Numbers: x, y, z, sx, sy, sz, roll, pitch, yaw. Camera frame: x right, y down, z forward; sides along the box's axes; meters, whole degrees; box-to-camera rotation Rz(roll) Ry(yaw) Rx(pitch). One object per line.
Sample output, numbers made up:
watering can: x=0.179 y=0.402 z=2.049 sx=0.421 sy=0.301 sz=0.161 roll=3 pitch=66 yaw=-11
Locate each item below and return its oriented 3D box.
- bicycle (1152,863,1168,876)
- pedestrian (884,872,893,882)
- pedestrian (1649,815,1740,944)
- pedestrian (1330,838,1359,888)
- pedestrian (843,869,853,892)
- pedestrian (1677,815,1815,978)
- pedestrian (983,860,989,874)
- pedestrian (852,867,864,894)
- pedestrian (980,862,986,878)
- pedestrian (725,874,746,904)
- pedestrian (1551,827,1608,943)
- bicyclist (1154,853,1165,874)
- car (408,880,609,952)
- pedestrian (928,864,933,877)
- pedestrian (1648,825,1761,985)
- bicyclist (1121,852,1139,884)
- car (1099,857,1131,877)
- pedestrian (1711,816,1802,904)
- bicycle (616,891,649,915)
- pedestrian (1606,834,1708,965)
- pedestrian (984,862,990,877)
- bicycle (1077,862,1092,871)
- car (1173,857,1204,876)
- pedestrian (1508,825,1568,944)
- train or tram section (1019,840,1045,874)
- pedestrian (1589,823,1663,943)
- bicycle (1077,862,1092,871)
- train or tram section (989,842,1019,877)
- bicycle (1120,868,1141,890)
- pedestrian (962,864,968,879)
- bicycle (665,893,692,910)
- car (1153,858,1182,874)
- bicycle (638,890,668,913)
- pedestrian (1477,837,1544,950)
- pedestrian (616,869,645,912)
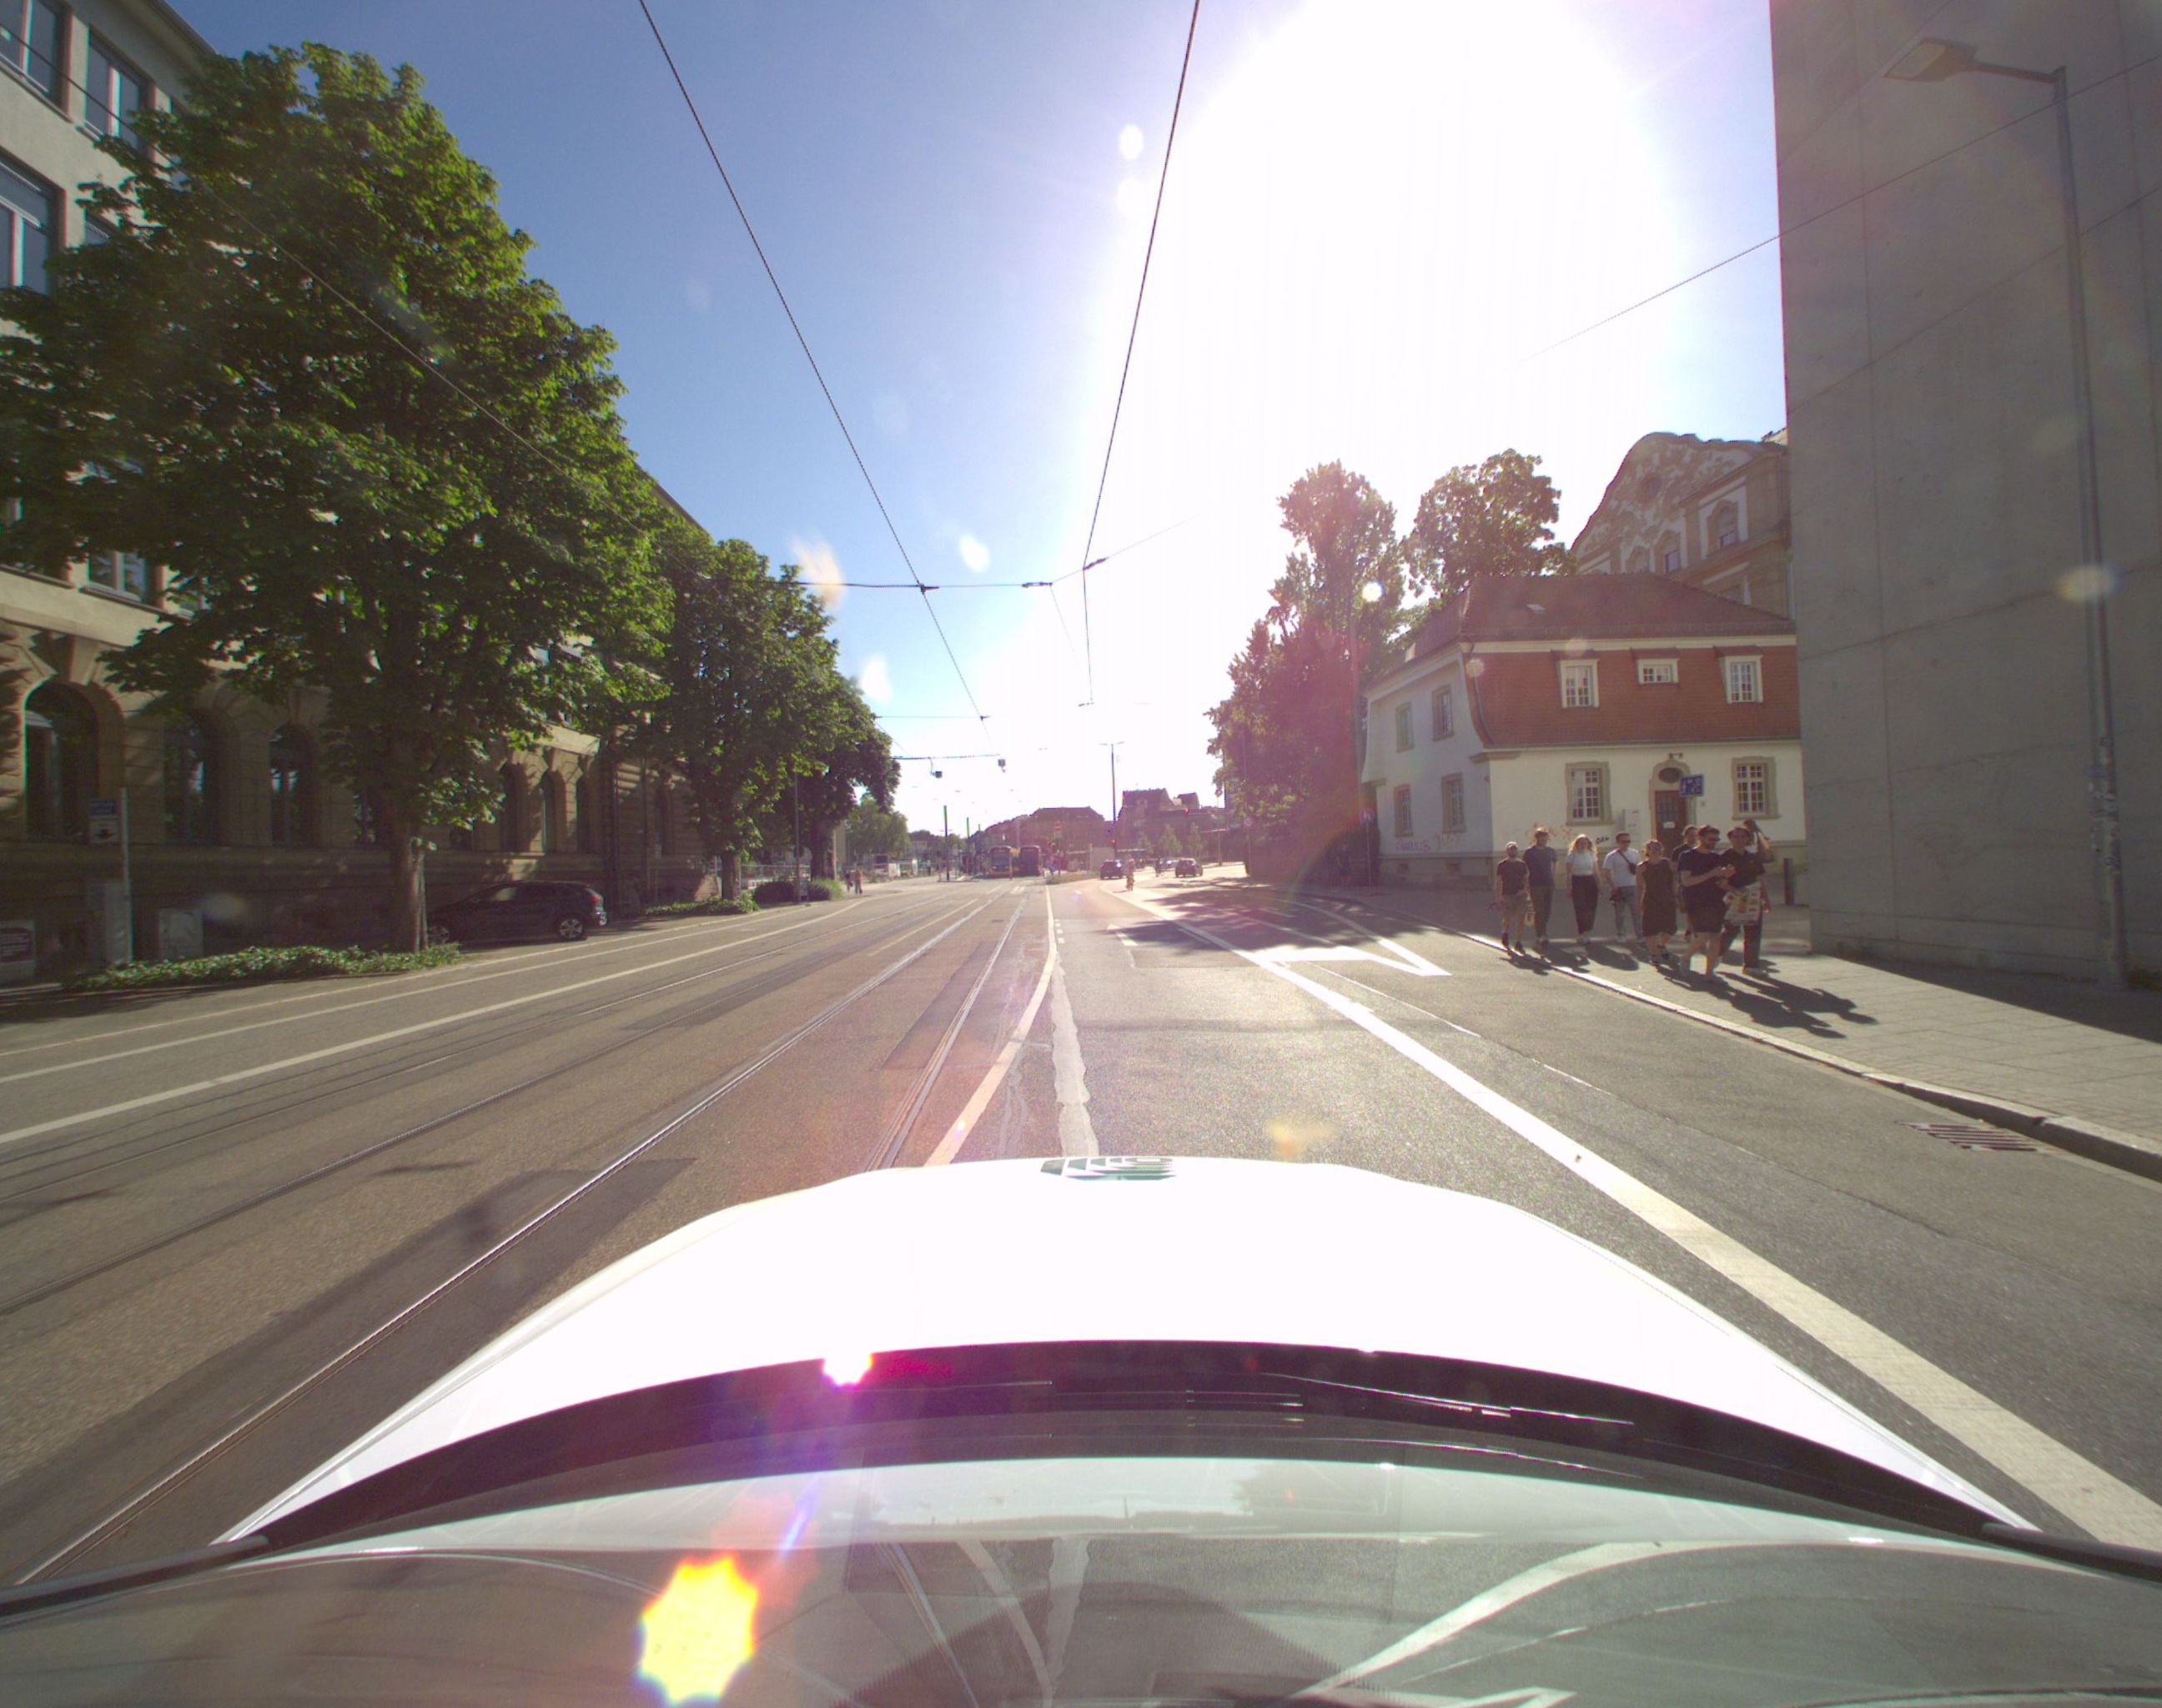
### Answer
bicycle: x=6.758 y=1.293 z=69.712 sx=0.699 sy=1.055 sz=2.326 roll=0 pitch=1 yaw=22
pedestrian: x=-21.295 y=2.567 z=90.036 sx=0.895 sy=1.046 sz=0.655 roll=-2 pitch=-1 yaw=-2
pedestrian: x=9.102 y=0.374 z=12.116 sx=0.654 sy=1.802 sz=0.732 roll=-6 pitch=-1 yaw=5
pedestrian: x=10.438 y=0.373 z=32.284 sx=0.636 sy=1.903 sz=1.134 roll=-4 pitch=-1 yaw=-1
pedestrian: x=-17.510 y=1.970 z=61.288 sx=0.618 sy=1.697 sz=0.677 roll=-2 pitch=-1 yaw=-10
pedestrian: x=7.834 y=0.483 z=9.642 sx=0.645 sy=1.763 sz=0.956 roll=-6 pitch=-1 yaw=0
pedestrian: x=-12.215 y=1.667 z=104.736 sx=0.625 sy=1.827 sz=0.661 roll=-2 pitch=-1 yaw=-4
pedestrian: x=-14.199 y=1.686 z=51.844 sx=0.637 sy=1.697 sz=0.814 roll=-3 pitch=-1 yaw=-17
pedestrian: x=-11.407 y=1.842 z=94.692 sx=0.625 sy=1.827 sz=0.661 roll=-2 pitch=-1 yaw=-4
pedestrian: x=-17.796 y=1.784 z=41.980 sx=0.925 sy=1.504 sz=0.700 roll=-2 pitch=-1 yaw=-25
pedestrian: x=8.051 y=0.494 z=13.152 sx=0.523 sy=1.774 sz=0.740 roll=-7 pitch=-1 yaw=38
bicyclist: x=6.687 y=0.802 z=69.531 sx=0.699 sy=1.700 sz=0.992 roll=0 pitch=0 yaw=22
car: x=-14.349 y=1.491 z=20.730 sx=4.012 sy=1.550 sz=1.859 roll=-1 pitch=-1 yaw=-30
pedestrian: x=-22.562 y=2.474 z=121.873 sx=0.523 sy=2.014 sz=0.522 roll=-2 pitch=-1 yaw=2
pedestrian: x=7.205 y=0.569 z=9.450 sx=0.493 sy=1.727 sz=0.816 roll=-6 pitch=-1 yaw=0
bicyclist: x=2.576 y=0.733 z=42.712 sx=0.699 sy=1.675 sz=1.106 roll=-1 pitch=0 yaw=17
car: x=2.796 y=1.057 z=66.931 sx=1.775 sy=1.604 sz=3.728 roll=-1 pitch=0 yaw=16
pedestrian: x=13.193 y=0.126 z=15.920 sx=0.991 sy=1.641 sz=0.856 roll=-2 pitch=-2 yaw=-13
bicycle: x=-18.518 y=2.025 z=33.681 sx=0.479 sy=0.917 sz=1.618 roll=-2 pitch=-1 yaw=-1
pedestrian: x=7.684 y=0.591 z=10.913 sx=0.821 sy=1.604 sz=0.899 roll=-7 pitch=-1 yaw=26
pedestrian: x=-11.612 y=1.920 z=100.287 sx=0.625 sy=1.827 sz=0.661 roll=-2 pitch=-1 yaw=-4
bicycle: x=0.424 y=1.666 z=109.676 sx=1.931 sy=1.103 sz=0.598 roll=-2 pitch=0 yaw=-5
car: x=9.077 y=1.006 z=68.476 sx=1.774 sy=1.511 sz=3.731 roll=-1 pitch=0 yaw=20
pedestrian: x=7.651 y=0.497 z=13.655 sx=0.516 sy=1.902 sz=0.612 roll=-6 pitch=-1 yaw=5
train or tram section: x=-5.755 y=0.349 z=96.082 sx=2.736 sy=3.651 sz=13.768 roll=-2 pitch=0 yaw=-3
pedestrian: x=8.517 y=0.445 z=12.753 sx=0.605 sy=1.774 sz=0.655 roll=-7 pitch=-1 yaw=13
bicycle: x=0.479 y=1.654 z=108.909 sx=1.931 sy=1.103 sz=0.598 roll=-2 pitch=0 yaw=-5
train or tram section: x=-8.689 y=0.623 z=93.021 sx=2.736 sy=3.651 sz=13.768 roll=-2 pitch=0 yaw=-3
bicycle: x=2.586 y=1.287 z=42.734 sx=0.699 sy=1.104 sz=1.725 roll=-1 pitch=0 yaw=17
pedestrian: x=-13.986 y=2.110 z=98.262 sx=0.625 sy=1.827 sz=0.661 roll=-2 pitch=-1 yaw=-4
bicycle: x=-18.787 y=2.201 z=38.068 sx=0.479 sy=0.725 sz=1.618 roll=-2 pitch=-1 yaw=-1
car: x=9.508 y=1.294 z=89.528 sx=1.685 sy=1.643 sz=3.736 roll=-1 pitch=0 yaw=32
bicycle: x=-18.611 y=2.061 z=35.424 sx=0.479 sy=0.917 sz=1.618 roll=-2 pitch=-1 yaw=-1
pedestrian: x=7.044 y=0.634 z=13.389 sx=0.603 sy=1.746 sz=0.719 roll=-6 pitch=-1 yaw=5
pedestrian: x=-17.554 y=1.399 z=31.716 sx=0.699 sy=1.635 sz=0.758 roll=0 pitch=-1 yaw=-3
